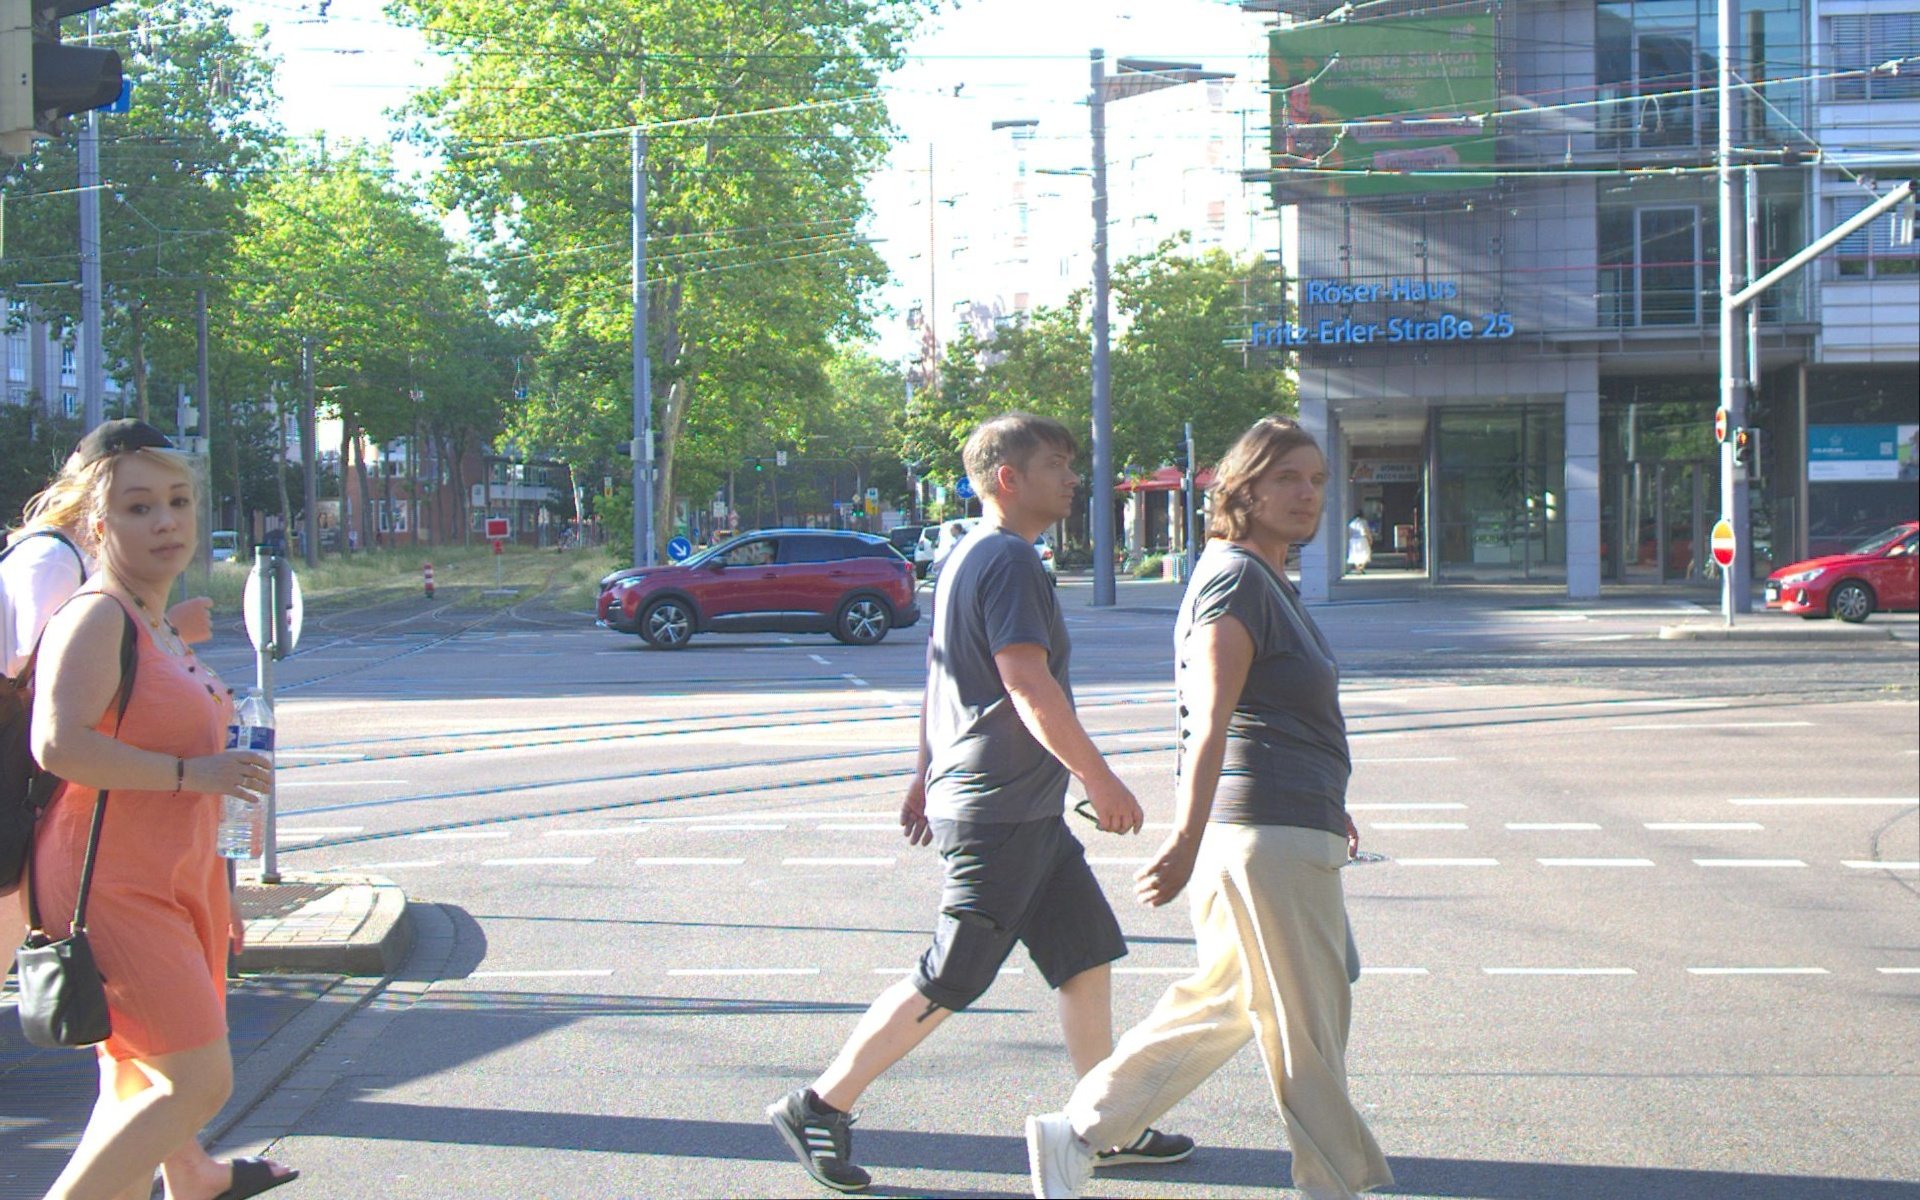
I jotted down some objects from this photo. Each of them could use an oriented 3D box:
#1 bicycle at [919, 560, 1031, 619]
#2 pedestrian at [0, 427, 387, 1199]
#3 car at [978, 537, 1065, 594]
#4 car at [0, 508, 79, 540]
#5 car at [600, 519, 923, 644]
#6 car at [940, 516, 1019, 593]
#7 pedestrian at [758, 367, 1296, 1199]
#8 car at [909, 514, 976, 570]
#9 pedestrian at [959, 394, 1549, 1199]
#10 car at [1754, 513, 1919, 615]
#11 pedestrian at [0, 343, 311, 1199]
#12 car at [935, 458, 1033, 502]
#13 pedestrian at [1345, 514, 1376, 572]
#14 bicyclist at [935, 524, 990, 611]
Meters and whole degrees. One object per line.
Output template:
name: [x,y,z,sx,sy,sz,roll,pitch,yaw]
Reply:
bicycle: [0.234,-0.171,54.501,1.741,0.896,0.409,-1,1,-4]
pedestrian: [-1.583,0.543,6.126,1.072,1.676,0.758,0,1,-7]
car: [1.483,-0.868,84.514,1.993,1.327,4.000,-1,1,-1]
car: [-46.902,-3.850,174.351,3.987,1.546,1.607,1,1,-31]
car: [-2.761,-0.273,47.325,4.240,1.596,1.796,-1,1,-9]
car: [0.484,-1.230,91.347,1.993,1.985,4.000,-1,1,-1]
pedestrian: [0.131,0.425,8.107,1.145,1.887,0.833,0,1,-7]
car: [-0.563,-1.813,106.654,1.993,1.656,4.000,-1,1,-1]
pedestrian: [0.583,0.495,7.148,1.071,1.800,0.758,0,1,-7]
car: [13.573,-0.537,48.620,4.240,1.387,1.796,-1,1,-2]
pedestrian: [-1.902,0.428,7.056,1.073,1.865,0.739,0,1,-7]
car: [0.999,-4.984,142.919,3.764,1.744,1.780,1,1,14]
pedestrian: [10.199,-1.460,87.569,0.739,1.460,0.536,-1,1,9]
bicyclist: [0.037,-0.521,54.478,0.819,1.362,0.400,-1,1,-4]
